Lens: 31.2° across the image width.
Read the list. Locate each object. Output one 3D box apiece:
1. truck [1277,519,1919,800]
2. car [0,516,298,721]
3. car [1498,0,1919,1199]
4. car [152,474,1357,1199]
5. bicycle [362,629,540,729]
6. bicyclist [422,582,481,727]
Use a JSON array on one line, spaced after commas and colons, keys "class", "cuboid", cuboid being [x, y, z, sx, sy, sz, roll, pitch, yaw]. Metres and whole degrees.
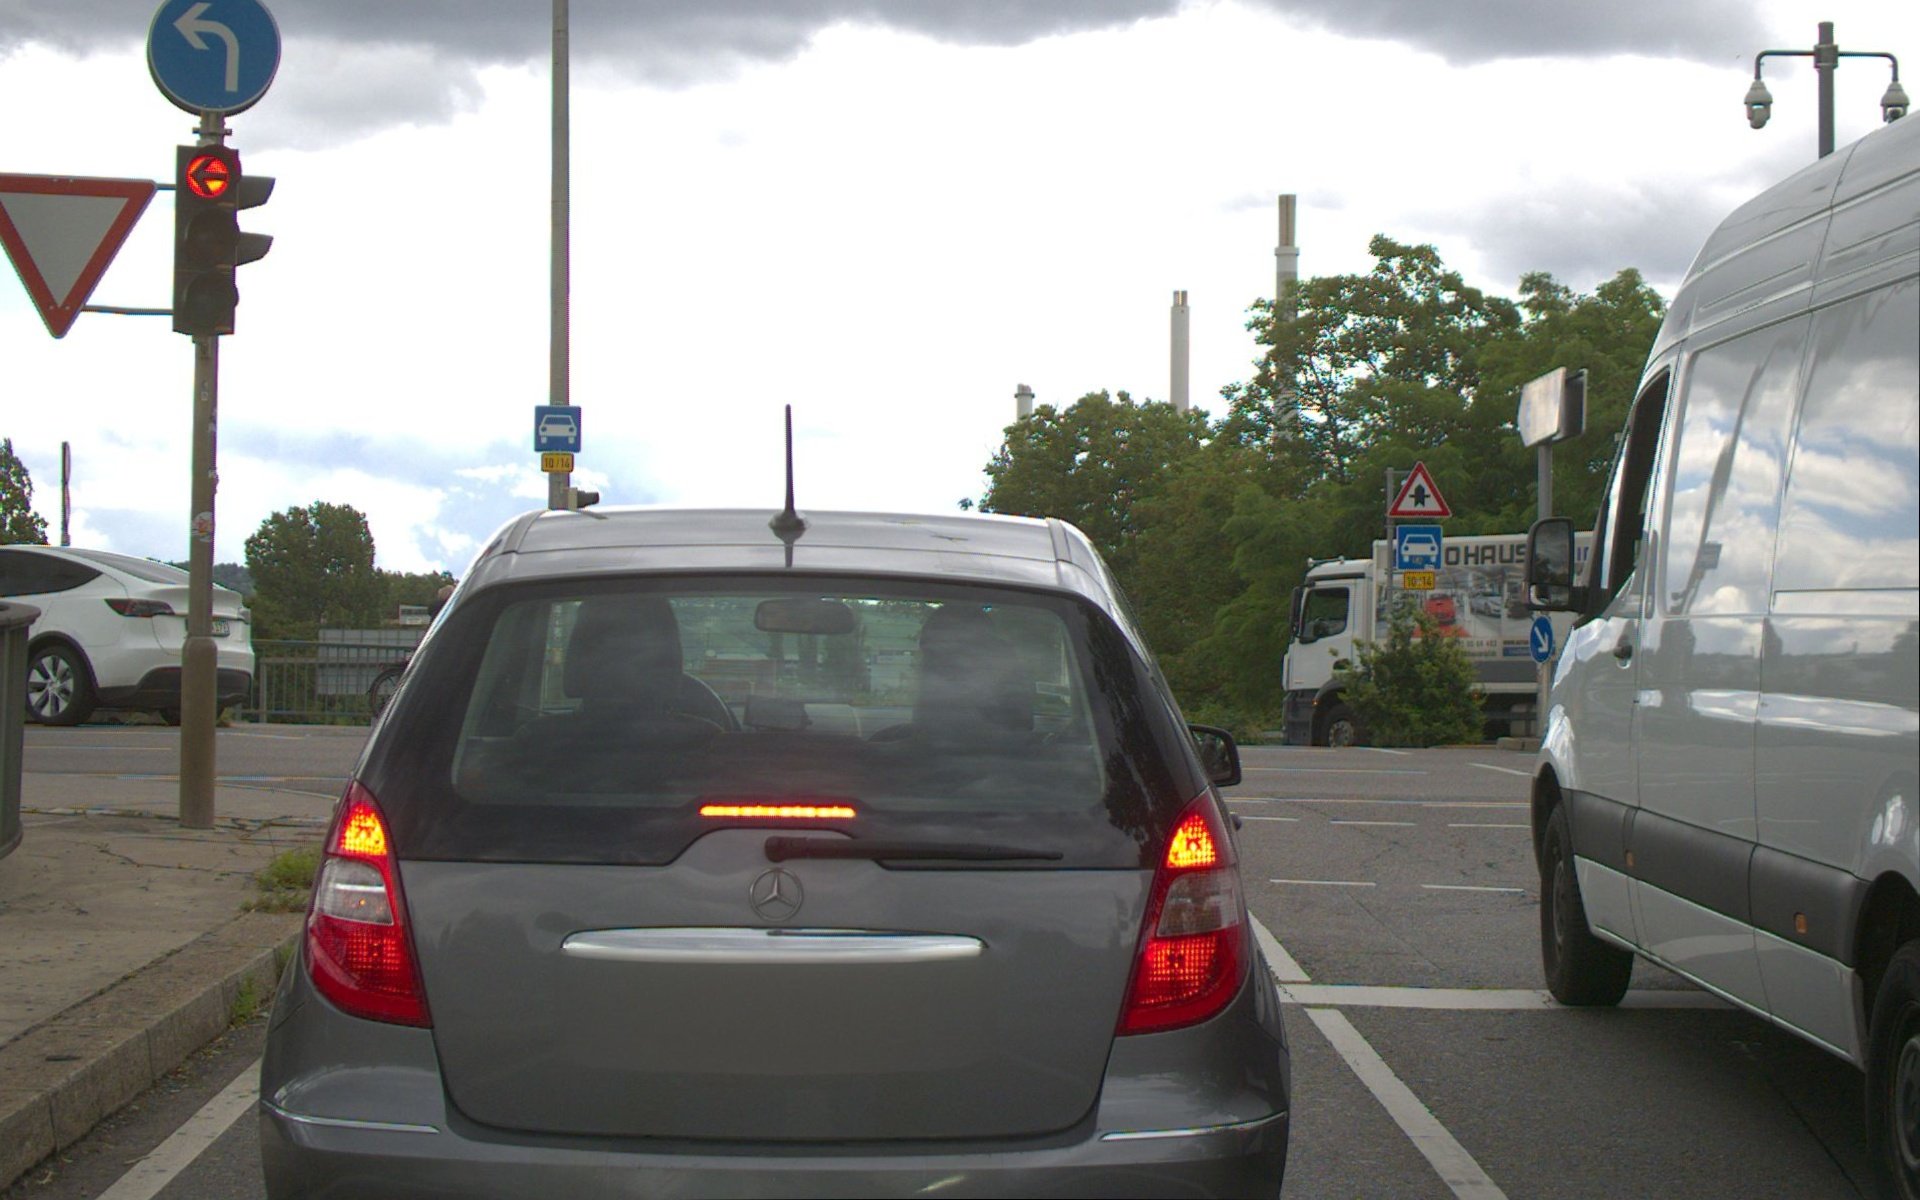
[{"class": "truck", "cuboid": [9.108, 0.640, 47.930, 2.790, 3.506, 10.243, -1, 2, -41]}, {"class": "car", "cuboid": [-8.249, 0.104, 30.717, 4.399, 1.711, 1.934, 1, 2, 30]}, {"class": "car", "cuboid": [3.006, -0.010, 8.991, 2.110, 2.774, 6.780, 0, 1, 0]}, {"class": "car", "cuboid": [-0.269, 0.540, 7.305, 1.858, 1.582, 4.000, 0, 2, 2]}, {"class": "bicycle", "cuboid": [-6.002, 0.920, 40.476, 2.032, 1.121, 0.929, 0, 1, -11]}, {"class": "bicyclist", "cuboid": [-5.990, 0.635, 40.484, 0.653, 1.668, 0.870, 0, 1, -11]}]
